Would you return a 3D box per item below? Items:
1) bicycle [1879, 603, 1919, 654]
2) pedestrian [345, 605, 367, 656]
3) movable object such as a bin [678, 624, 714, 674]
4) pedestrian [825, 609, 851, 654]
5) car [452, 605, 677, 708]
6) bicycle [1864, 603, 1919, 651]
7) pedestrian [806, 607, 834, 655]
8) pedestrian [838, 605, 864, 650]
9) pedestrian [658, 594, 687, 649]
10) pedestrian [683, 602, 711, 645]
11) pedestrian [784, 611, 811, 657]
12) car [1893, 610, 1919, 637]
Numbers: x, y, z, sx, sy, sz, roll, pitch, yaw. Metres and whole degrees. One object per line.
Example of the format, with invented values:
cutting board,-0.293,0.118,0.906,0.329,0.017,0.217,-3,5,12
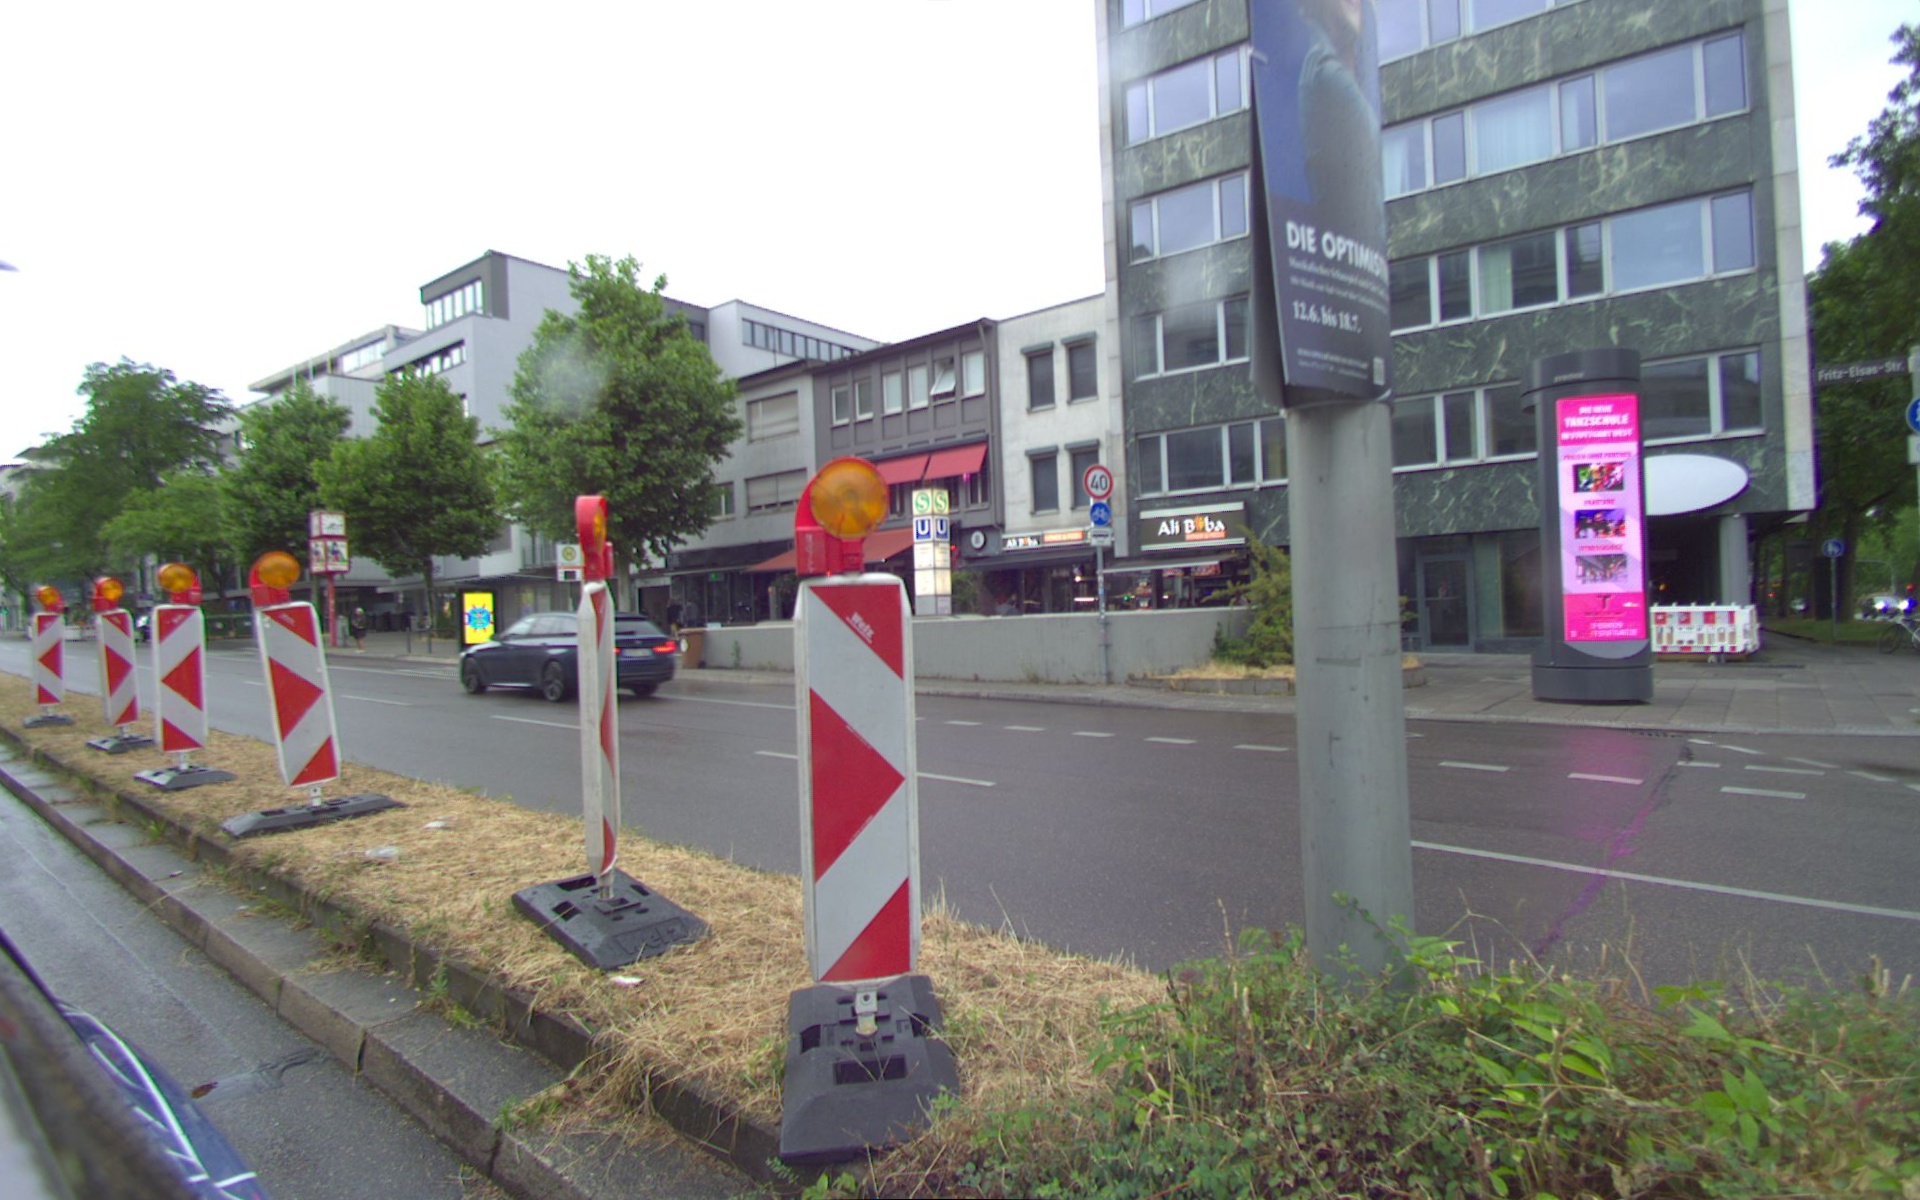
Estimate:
bicycle,20.755,0.598,21.481,1.780,1.060,0.579,-1,-1,37
pedestrian,-22.058,1.121,36.982,0.567,1.839,0.581,-1,0,-43
movable object such as a bin,-6.113,1.129,23.451,0.660,1.109,0.501,-1,0,39
pedestrian,-4.288,1.092,35.512,0.611,1.540,0.660,-2,-1,44
car,-6.940,0.887,17.566,4.415,1.566,1.671,-1,0,39
bicycle,21.250,0.593,22.389,1.780,1.060,0.579,-1,-1,37
pedestrian,-4.619,1.023,33.438,0.611,1.540,0.660,-2,-1,44
pedestrian,-3.769,0.944,35.018,0.611,1.540,0.660,-2,-1,44
pedestrian,-10.702,0.791,37.682,0.764,2.029,0.768,-1,0,-41
pedestrian,-9.912,0.880,38.120,0.764,1.577,0.768,-1,0,-41
pedestrian,-5.508,1.141,34.363,0.611,1.540,0.660,-2,-1,44
car,51.945,1.225,54.343,1.994,1.381,4.130,-2,-1,33
